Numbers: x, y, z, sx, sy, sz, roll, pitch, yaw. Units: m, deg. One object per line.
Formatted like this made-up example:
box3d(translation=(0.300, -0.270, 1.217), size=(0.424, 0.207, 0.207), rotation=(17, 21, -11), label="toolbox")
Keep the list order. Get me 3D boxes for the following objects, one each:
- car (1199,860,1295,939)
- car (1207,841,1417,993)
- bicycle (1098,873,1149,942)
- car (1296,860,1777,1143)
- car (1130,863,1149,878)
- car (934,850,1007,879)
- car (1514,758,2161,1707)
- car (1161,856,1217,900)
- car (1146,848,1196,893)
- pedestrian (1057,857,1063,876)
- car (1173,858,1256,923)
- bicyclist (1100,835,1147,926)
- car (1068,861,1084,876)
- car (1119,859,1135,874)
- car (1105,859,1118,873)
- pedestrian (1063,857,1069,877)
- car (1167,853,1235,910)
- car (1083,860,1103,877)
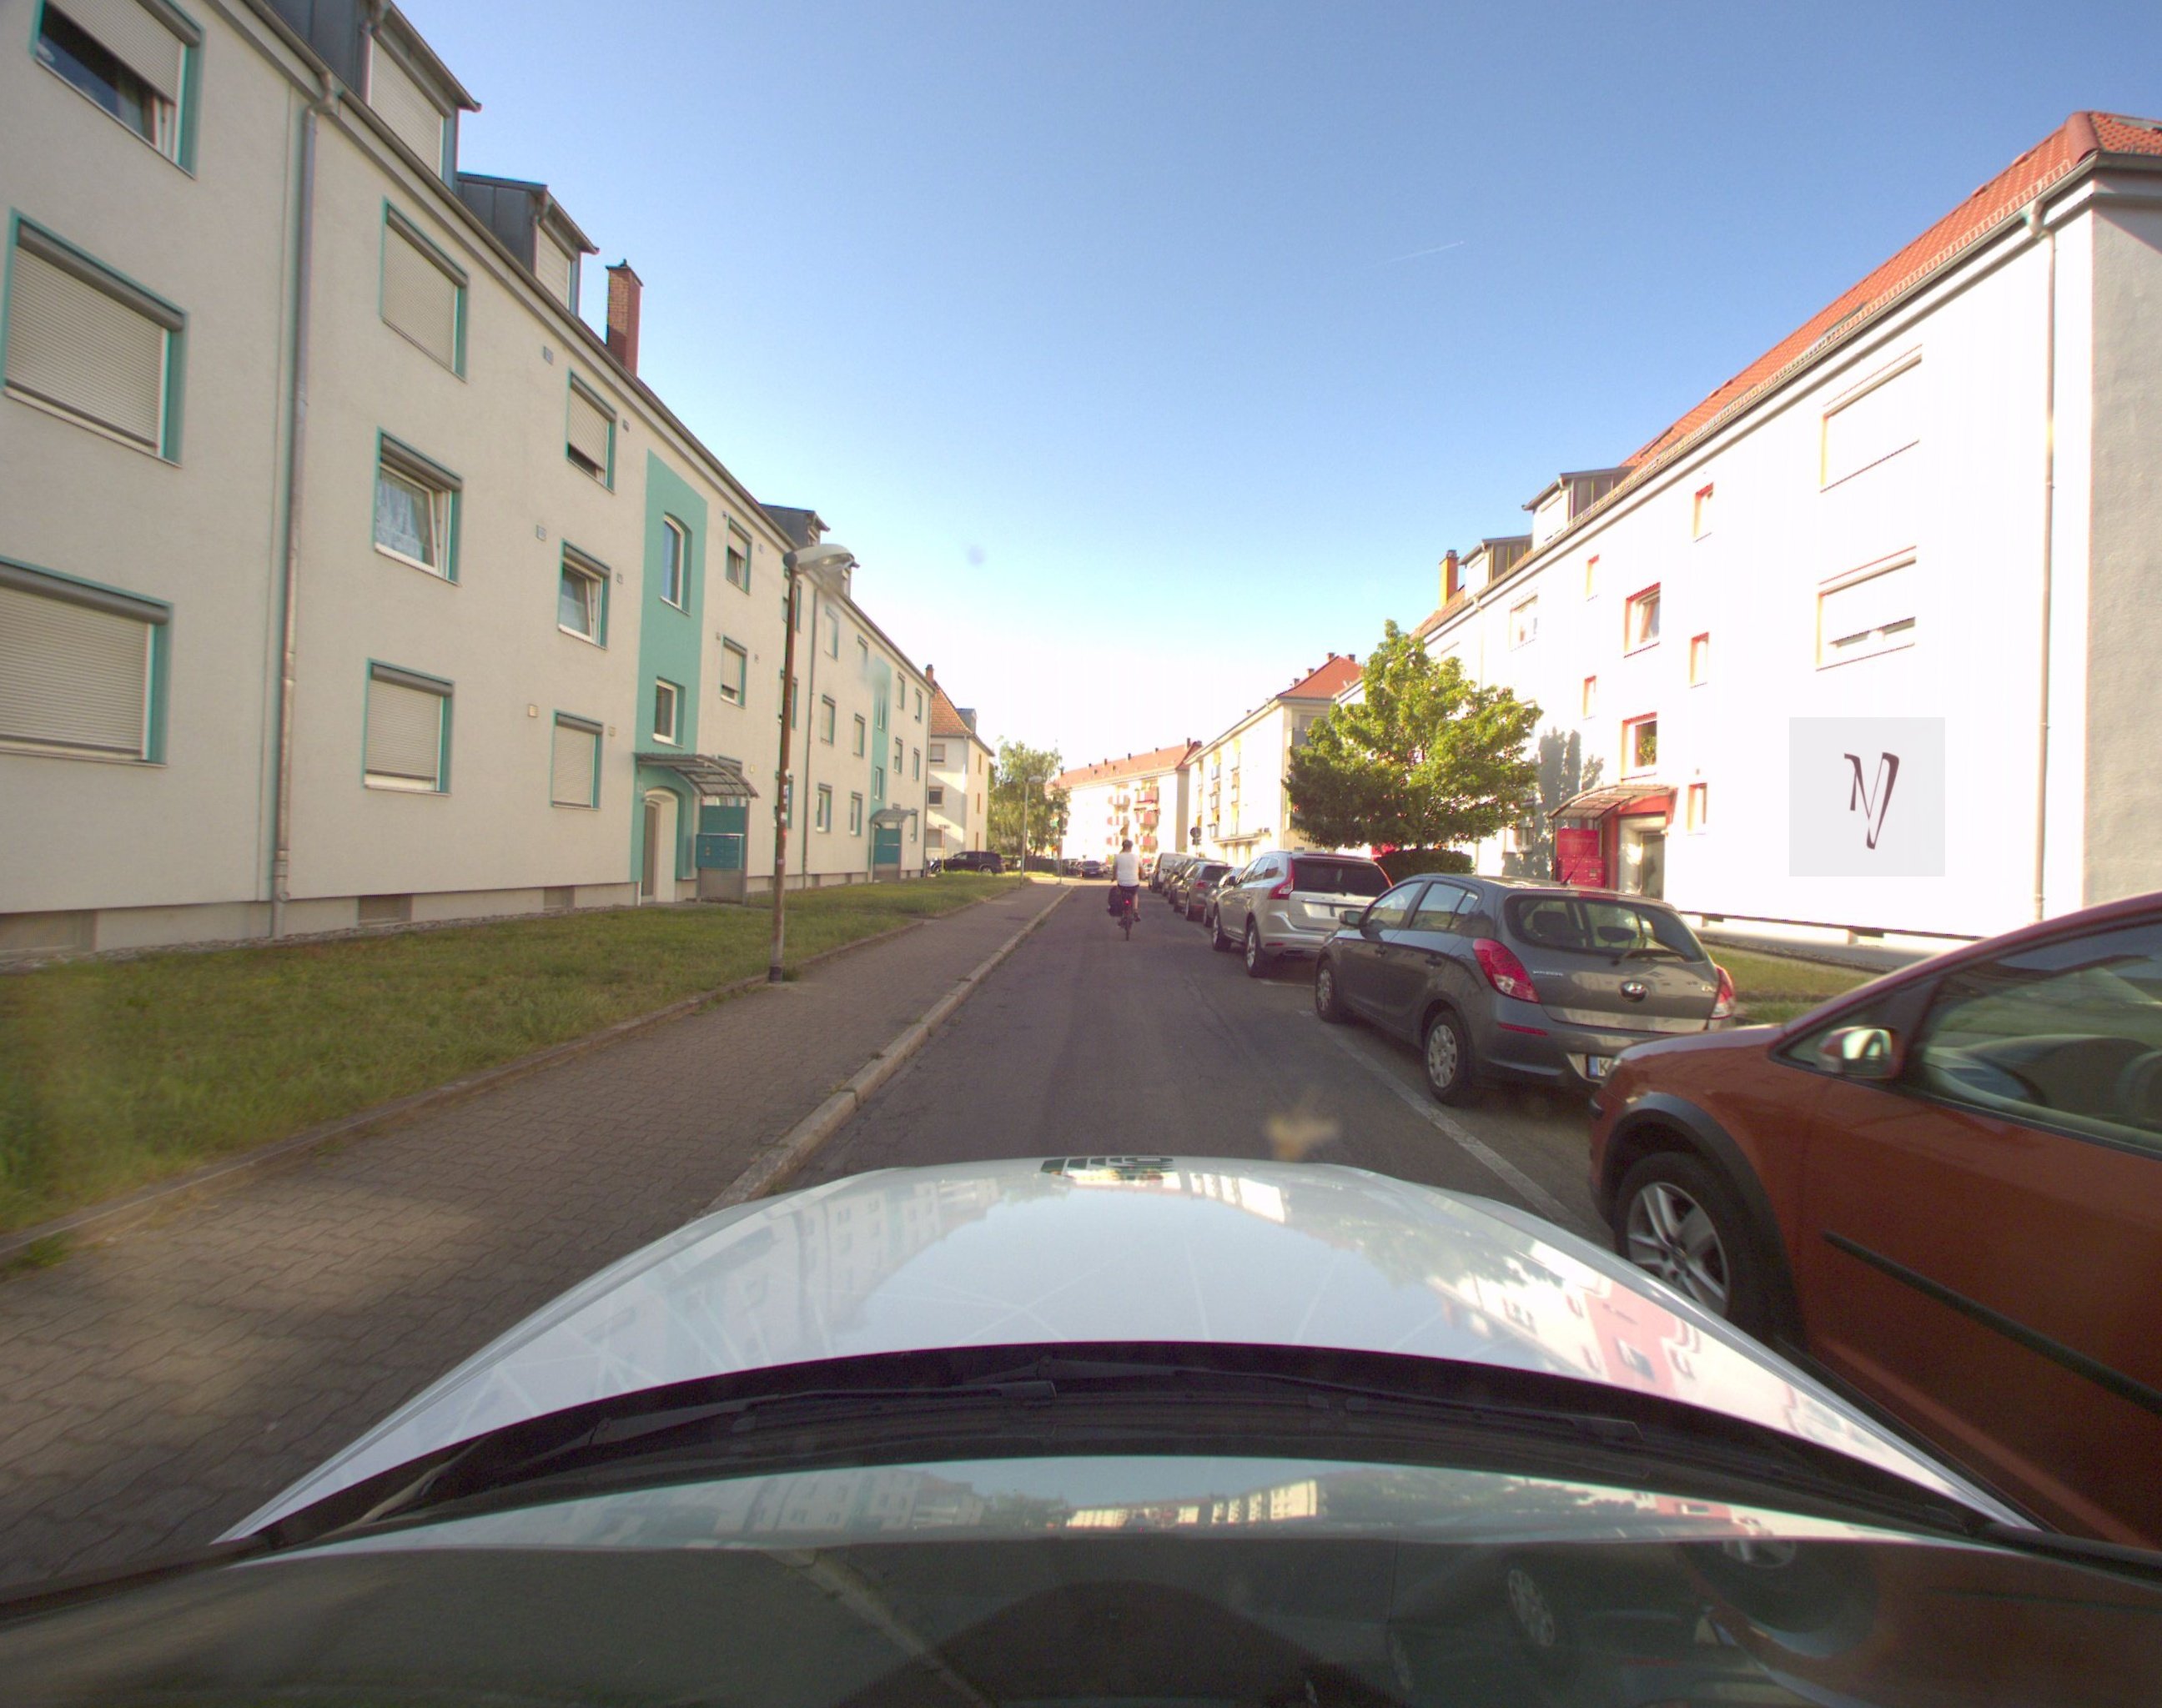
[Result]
box3d(translation=(3.375, 0.875, 17.015), size=(1.386, 1.403, 3.245), rotation=(2, 0, 2), label="car")
box3d(translation=(3.010, 0.724, 11.620), size=(1.695, 1.671, 4.379), rotation=(3, 0, 0), label="car")
box3d(translation=(0.758, 0.948, 15.125), size=(0.806, 1.128, 2.101), rotation=(1, 0, -1), label="bicycle")
box3d(translation=(3.103, 0.855, 6.549), size=(1.613, 1.460, 3.840), rotation=(4, 0, -1), label="car")
box3d(translation=(5.581, 1.572, 77.718), size=(1.465, 1.335, 3.140), rotation=(3, 0, 0), label="car")
box3d(translation=(-6.710, 0.627, 49.648), size=(4.221, 1.638, 1.581), rotation=(1, 0, -3), label="car")
box3d(translation=(2.726, 0.739, 1.314), size=(1.855, 1.668, 4.128), rotation=(4, 0, 2), label="car")
box3d(translation=(3.974, 0.847, 30.408), size=(1.554, 1.453, 3.365), rotation=(3, 0, 0), label="car")
box3d(translation=(3.823, 0.671, 35.127), size=(1.669, 1.738, 3.942), rotation=(3, 0, 0), label="car")
box3d(translation=(-1.653, 0.996, 64.413), size=(0.432, 1.427, 0.543), rotation=(2, 0, 1), label="pedestrian")
box3d(translation=(3.314, 0.846, 20.874), size=(1.553, 1.411, 3.935), rotation=(3, 0, 2), label="car")
box3d(translation=(0.777, 0.482, 15.149), size=(0.806, 1.643, 0.899), rotation=(1, 0, -1), label="bicyclist")
box3d(translation=(-0.483, 1.380, 79.303), size=(1.465, 1.335, 3.139), rotation=(-2, 0, -1), label="car")
box3d(translation=(4.755, 1.281, 84.679), size=(1.377, 1.497, 3.076), rotation=(3, 0, 0), label="car")
box3d(translation=(3.632, 1.430, 97.346), size=(1.465, 1.516, 3.076), rotation=(3, 0, 0), label="car")
box3d(translation=(-1.179, 1.016, 64.440), size=(0.432, 1.574, 0.543), rotation=(2, 0, 1), label="pedestrian")
box3d(translation=(3.689, 0.806, 25.416), size=(1.554, 1.576, 3.365), rotation=(3, 0, 0), label="car")
box3d(translation=(0.959, 1.221, 68.250), size=(1.466, 1.335, 3.138), rotation=(-2, 0, -3), label="car")
